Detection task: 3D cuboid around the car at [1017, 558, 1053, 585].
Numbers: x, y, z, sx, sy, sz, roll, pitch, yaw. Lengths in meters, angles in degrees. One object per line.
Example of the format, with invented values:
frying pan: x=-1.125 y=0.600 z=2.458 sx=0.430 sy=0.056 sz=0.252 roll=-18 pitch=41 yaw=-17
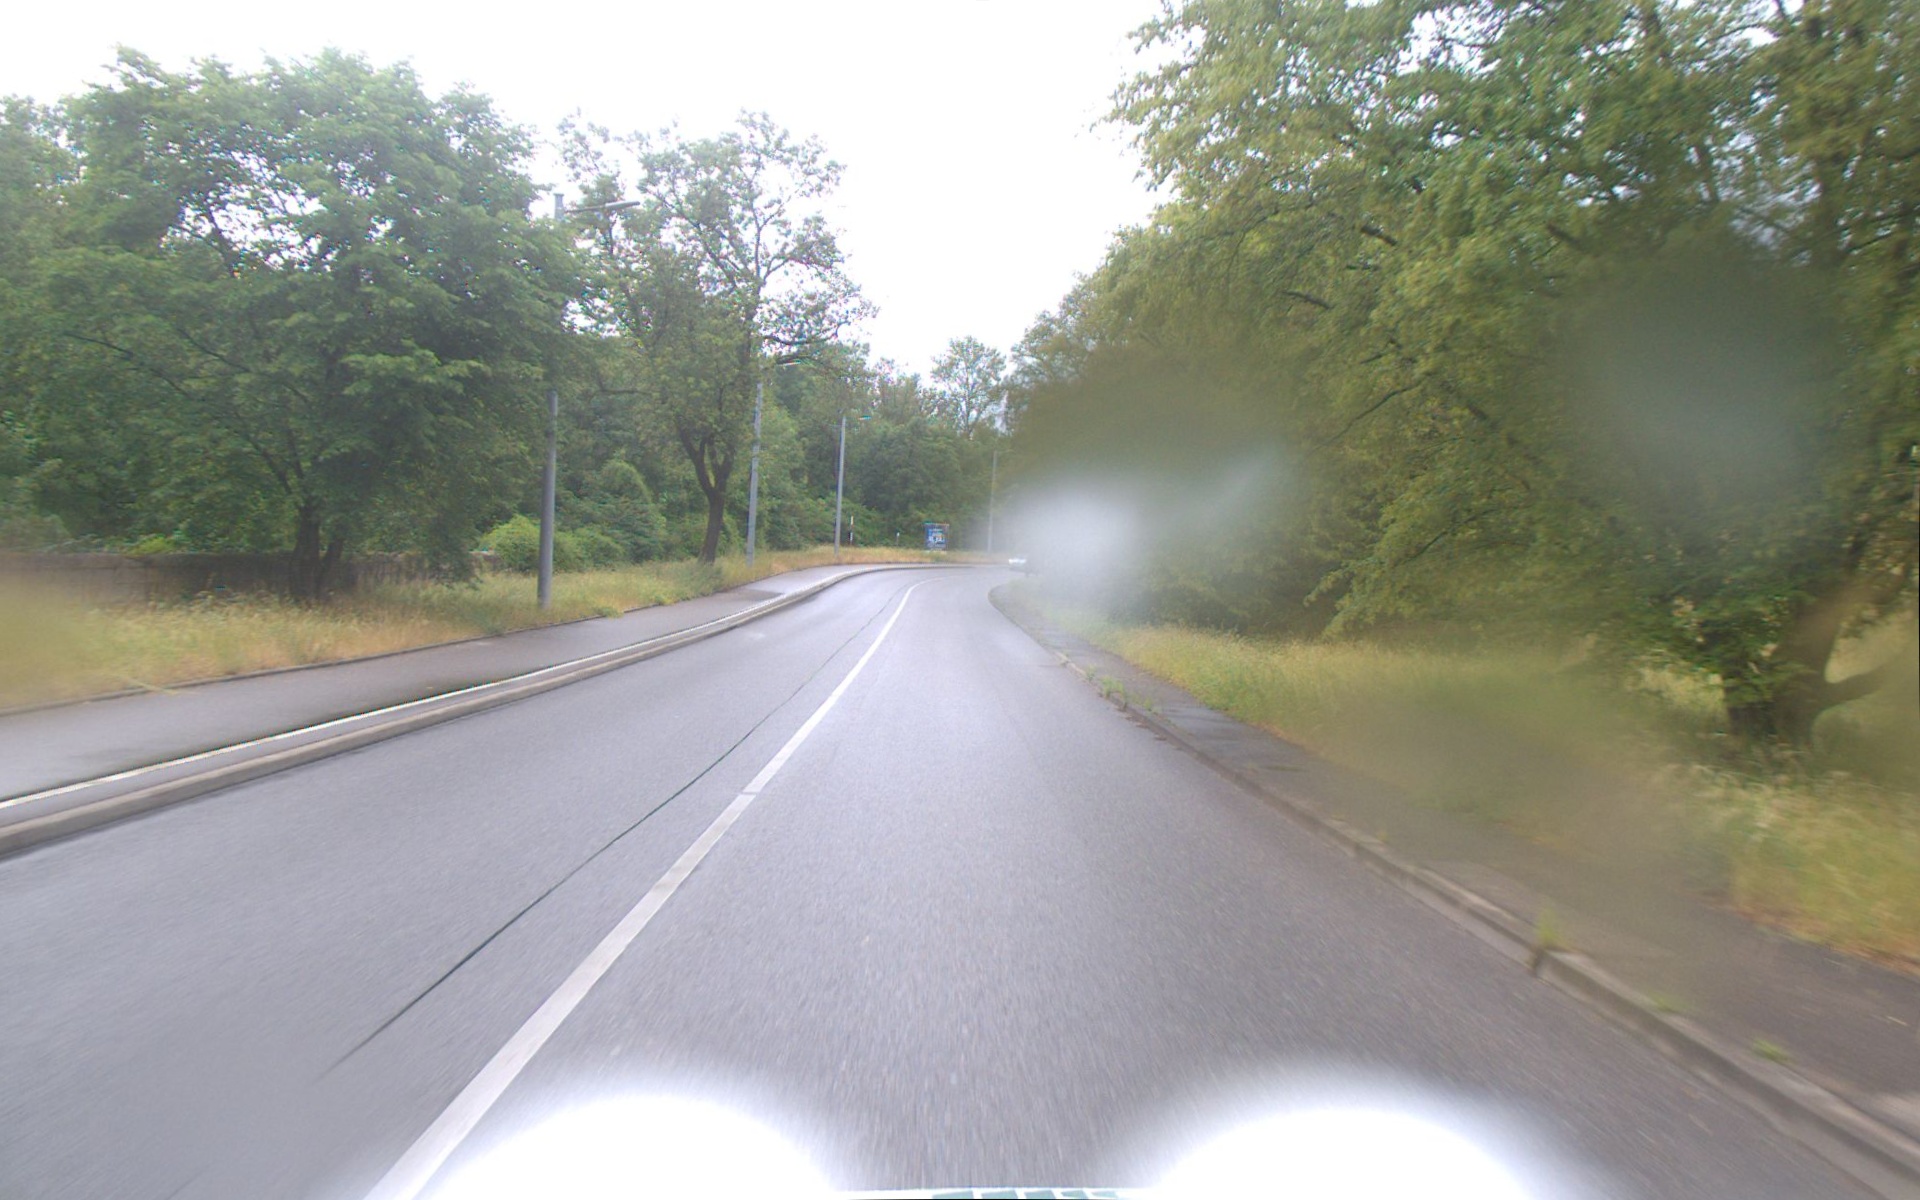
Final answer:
car: x=5.637 y=-2.122 z=123.499 sx=1.705 sy=1.746 sz=4.002 roll=4 pitch=0 yaw=17
